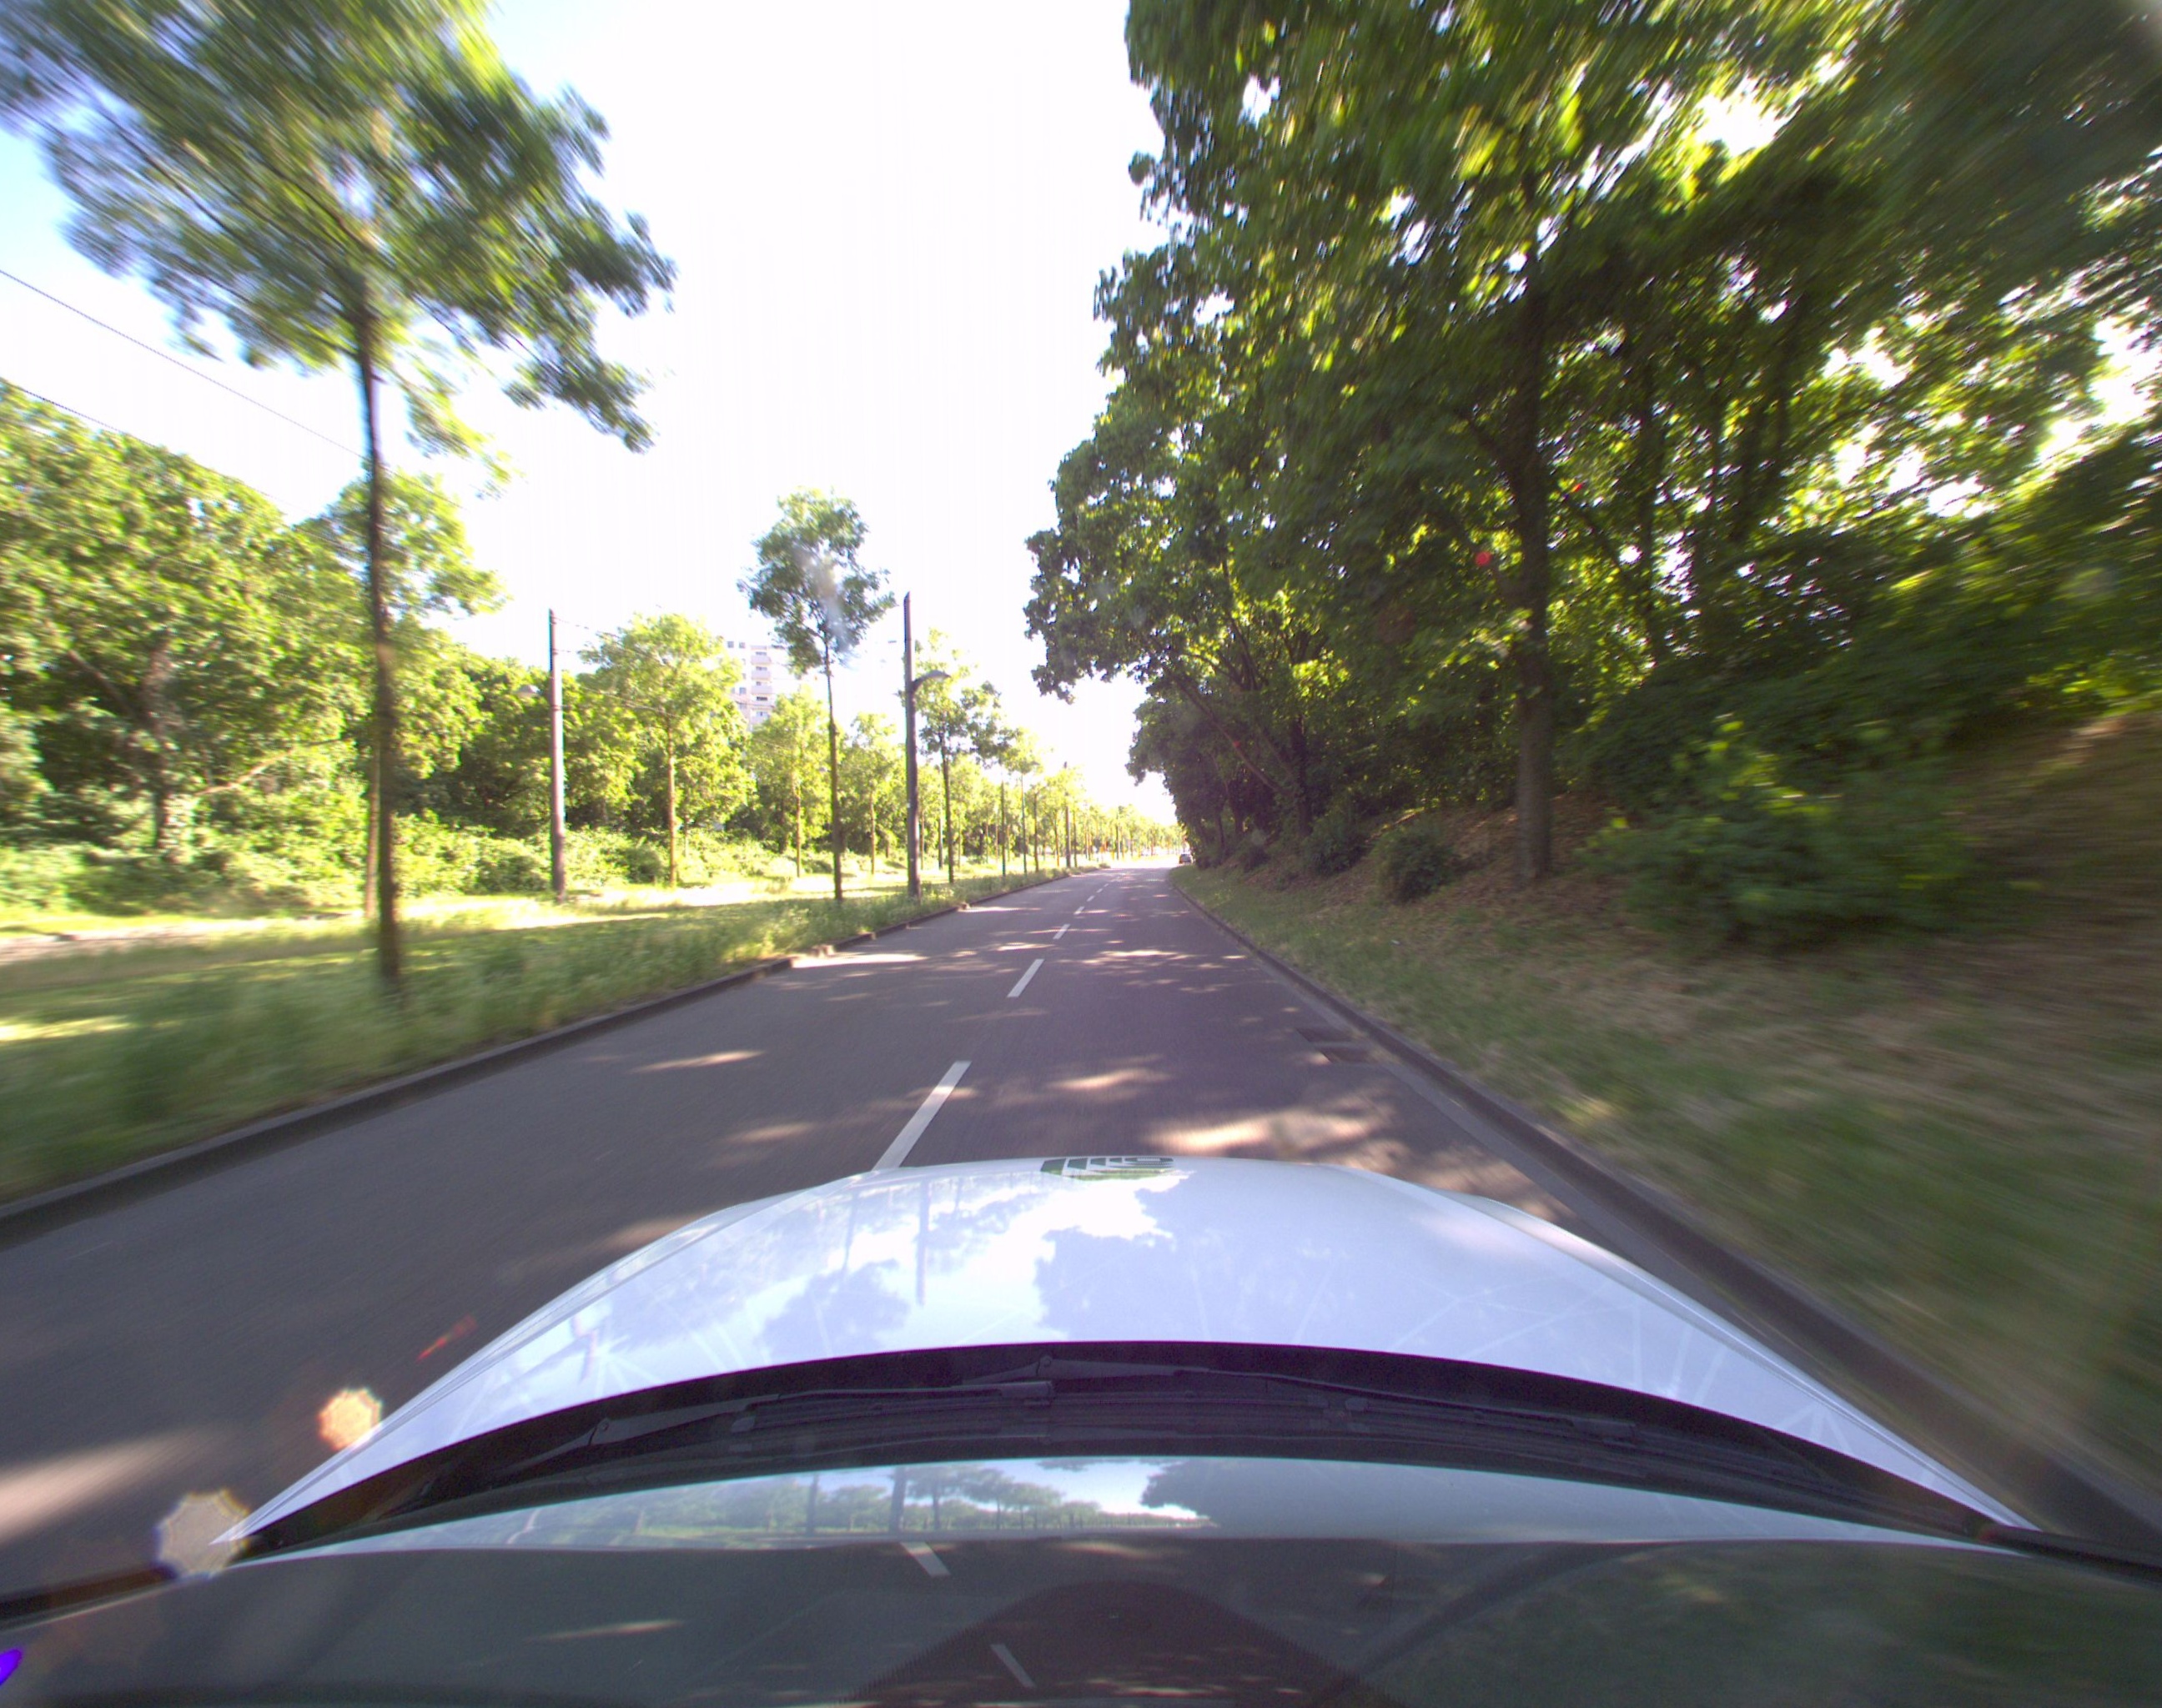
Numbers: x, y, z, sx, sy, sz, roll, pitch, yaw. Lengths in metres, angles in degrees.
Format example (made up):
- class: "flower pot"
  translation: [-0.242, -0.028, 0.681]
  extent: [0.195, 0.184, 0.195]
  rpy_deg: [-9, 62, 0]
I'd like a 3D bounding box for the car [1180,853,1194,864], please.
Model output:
- class: "car"
  translation: [14.128, 0.603, 108.479]
  extent: [1.624, 1.498, 4.245]
  rpy_deg: [-1, 0, 9]
